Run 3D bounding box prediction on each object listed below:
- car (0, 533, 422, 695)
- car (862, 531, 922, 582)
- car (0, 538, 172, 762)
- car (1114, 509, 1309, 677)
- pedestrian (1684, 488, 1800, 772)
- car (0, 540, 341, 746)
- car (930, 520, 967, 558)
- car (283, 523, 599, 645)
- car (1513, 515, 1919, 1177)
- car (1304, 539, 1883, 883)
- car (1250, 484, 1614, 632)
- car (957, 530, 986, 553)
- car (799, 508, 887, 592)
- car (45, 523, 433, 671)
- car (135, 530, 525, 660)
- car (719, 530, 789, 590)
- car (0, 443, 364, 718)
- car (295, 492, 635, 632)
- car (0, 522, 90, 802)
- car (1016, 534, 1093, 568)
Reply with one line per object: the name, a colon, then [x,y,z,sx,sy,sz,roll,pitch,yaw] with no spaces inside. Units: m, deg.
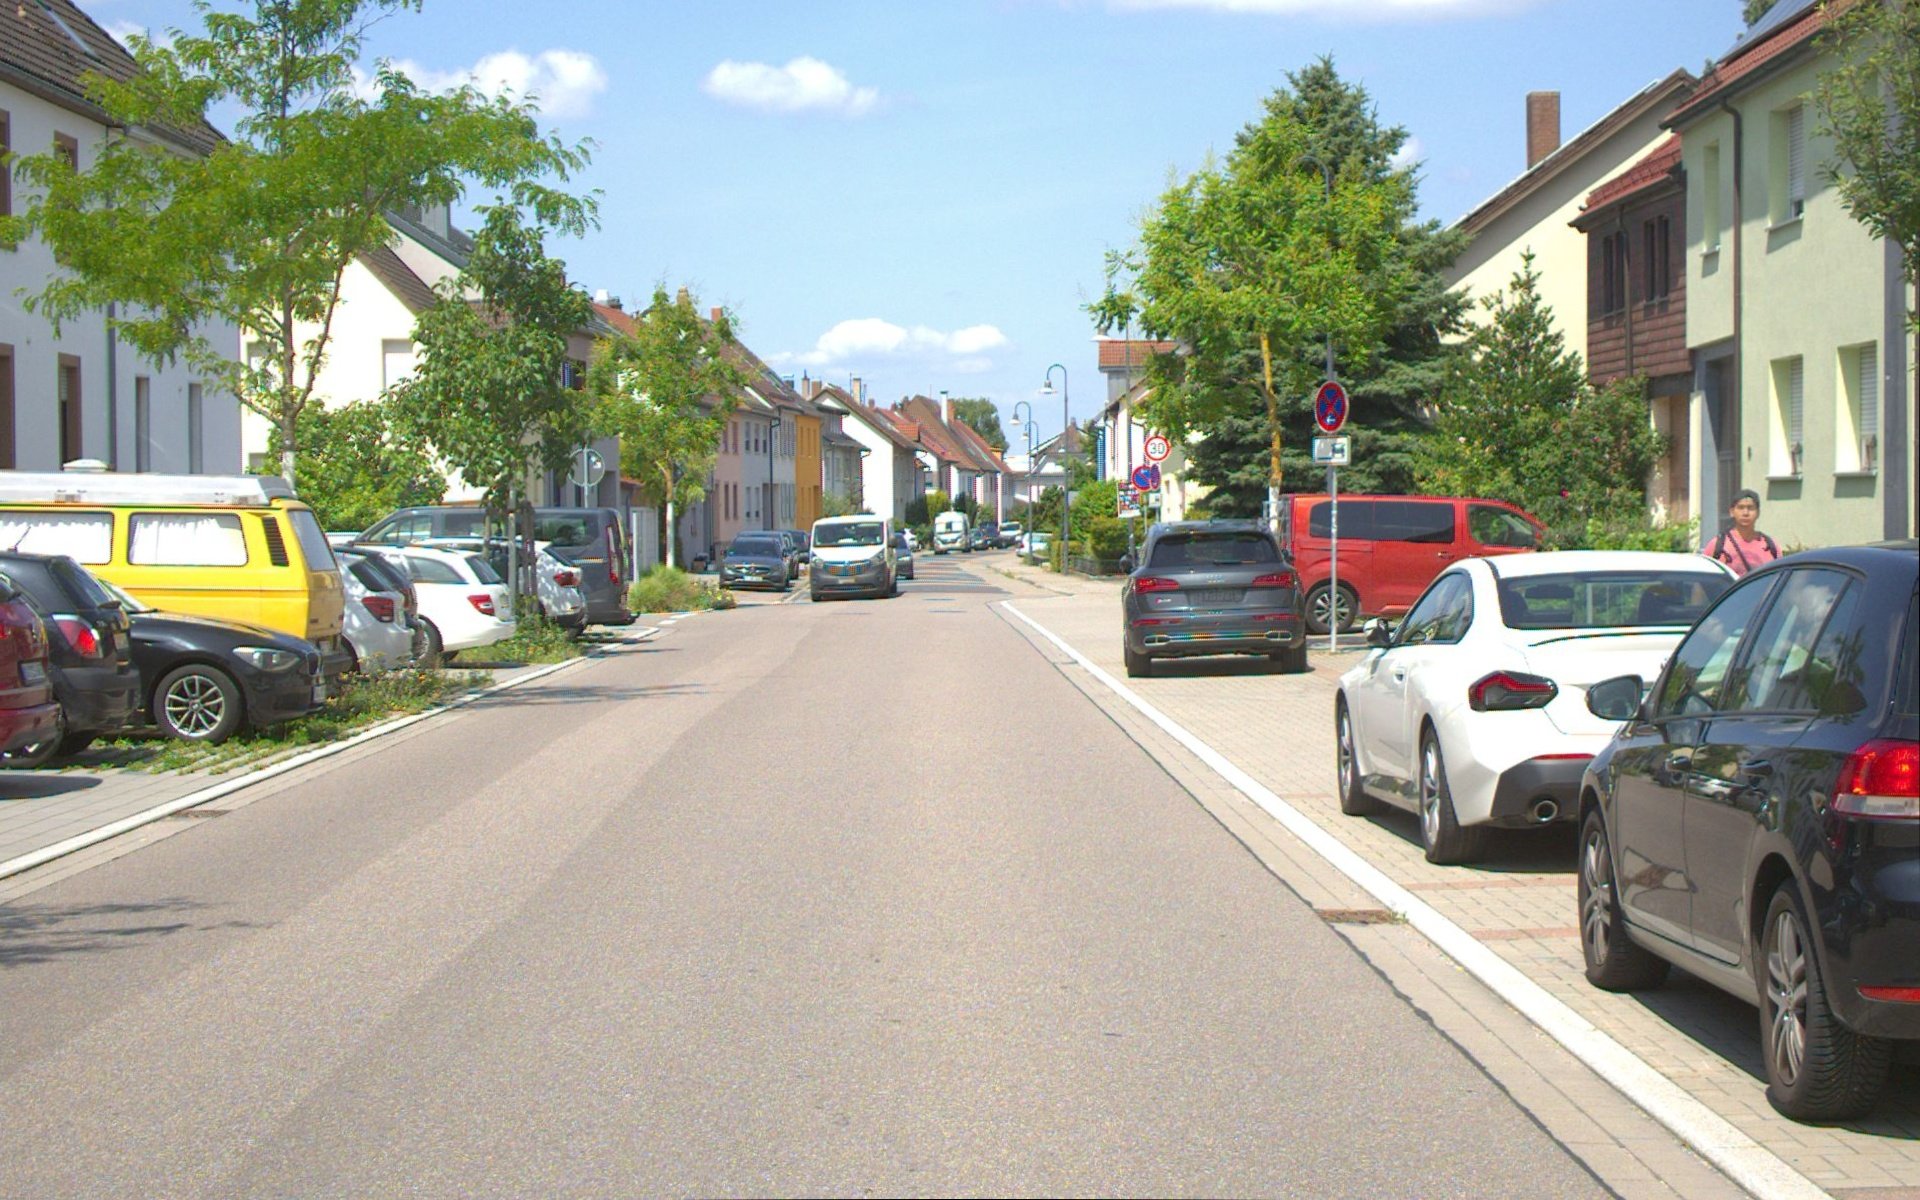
car: [-7.255,0.121,33.076,4.071,1.463,1.754,1,1,-8]
car: [-2.109,-1.362,106.520,1.762,1.517,4.049,-2,1,-1]
car: [-7.446,0.293,23.405,3.791,1.454,1.755,1,1,-3]
car: [2.658,-0.128,37.226,1.864,1.630,4.446,-2,2,2]
pedestrian: [4.886,0.181,21.500,0.557,1.743,0.673,-1,0,0]
car: [-6.847,0.288,25.971,4.010,1.454,1.755,1,1,0]
car: [-0.723,-3.786,214.727,2.045,2.304,3.771,1,0,3]
car: [-7.197,-0.225,47.968,4.182,1.563,1.774,1,0,-4]
car: [2.808,0.535,9.914,1.767,1.524,4.007,0,1,0]
car: [2.920,0.433,16.864,1.832,1.460,4.520,0,1,-2]
car: [6.380,-0.564,46.860,4.618,1.887,2.021,1,0,-1]
car: [0.796,-4.041,236.573,1.692,1.498,3.771,1,0,3]
car: [-2.776,-1.179,82.190,2.022,1.943,4.899,0,0,-1]
car: [-7.497,-0.030,36.050,3.878,1.463,1.659,1,0,-8]
car: [-7.487,-0.066,41.089,4.295,1.463,1.774,1,0,2]
car: [-5.717,-1.121,95.780,1.816,1.428,4.140,4,2,-3]
car: [-7.380,-0.189,28.551,4.508,2.170,1.925,1,1,0]
car: [-7.251,-0.553,50.649,4.700,1.916,1.938,1,0,0]
car: [-7.582,0.307,20.634,4.253,1.606,1.843,1,1,-1]
car: [4.421,-2.281,160.508,3.523,1.459,1.628,1,0,0]
